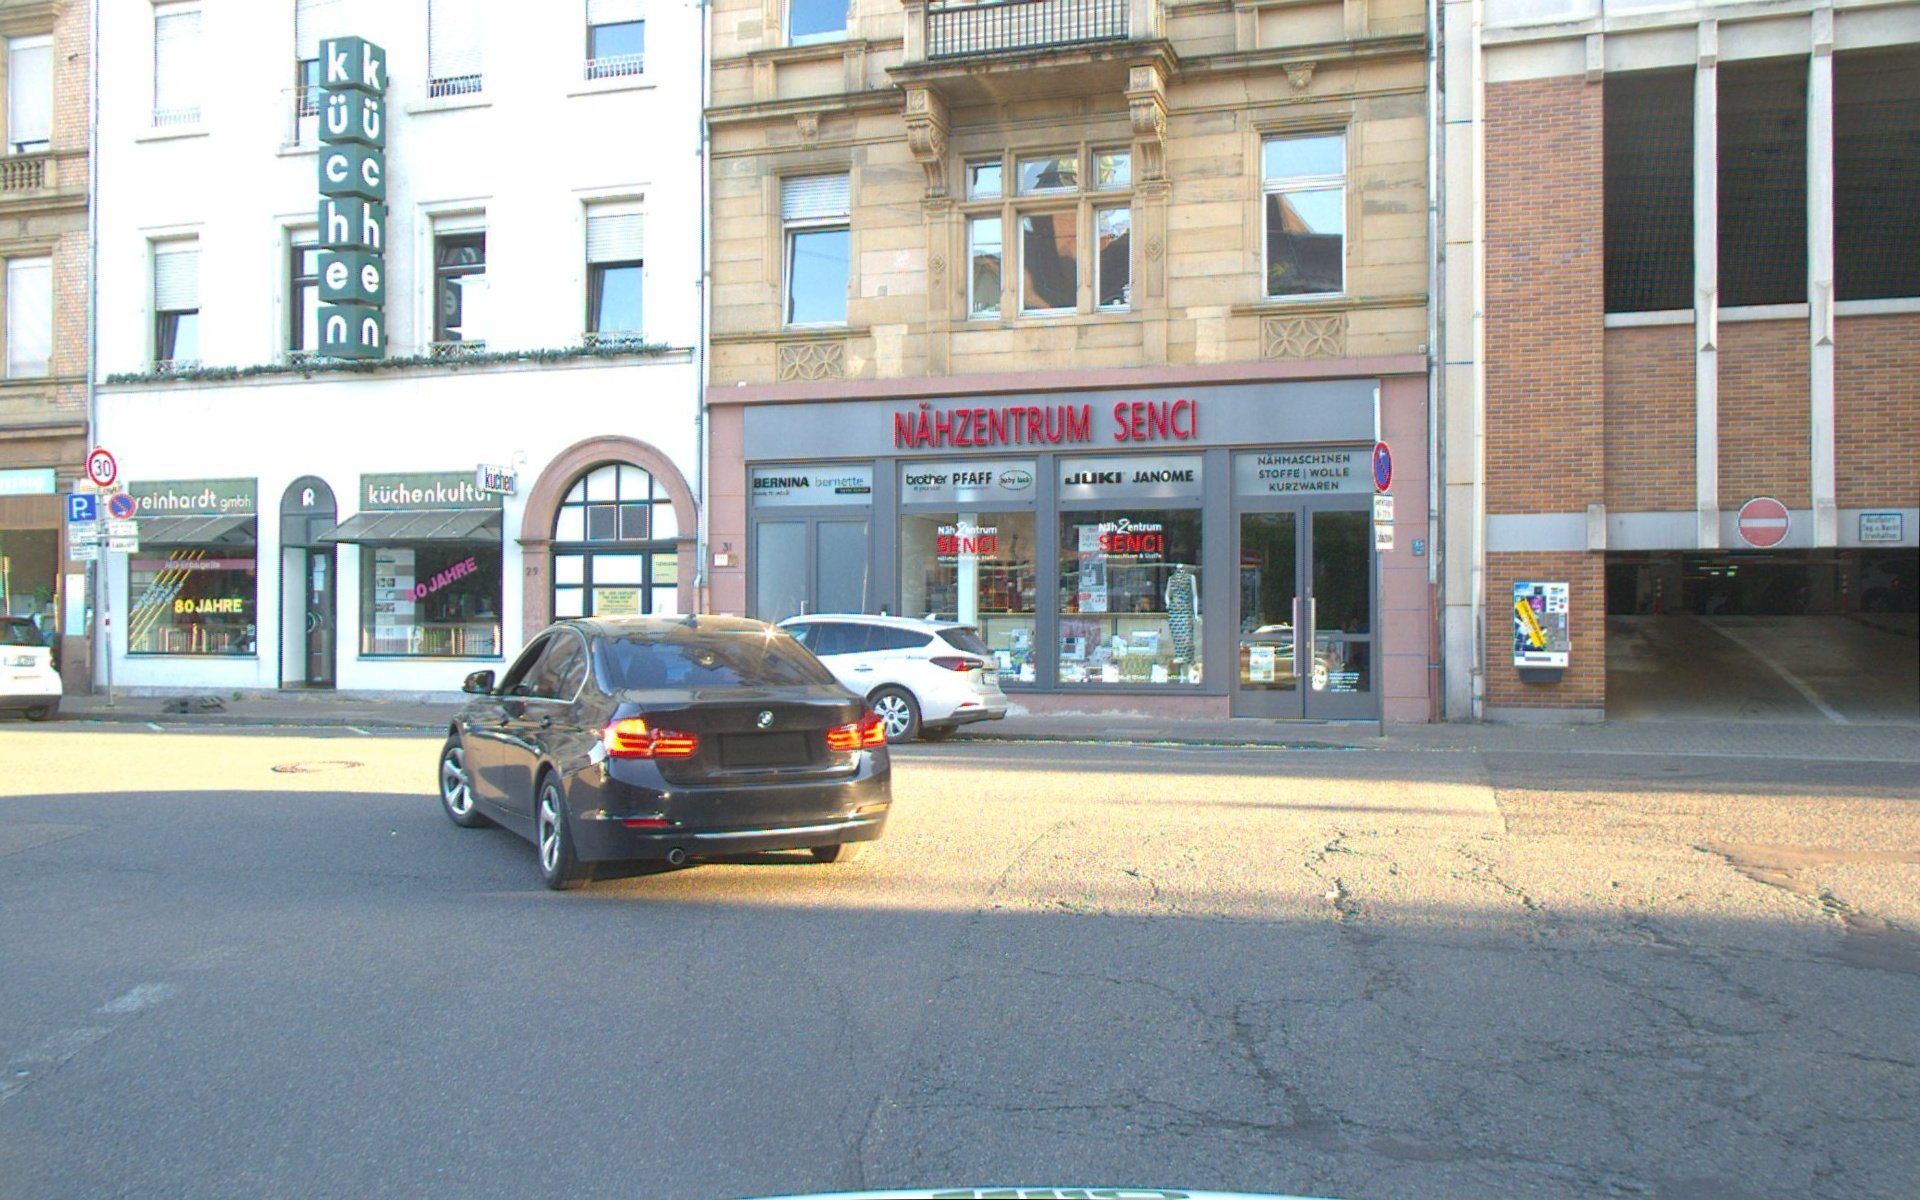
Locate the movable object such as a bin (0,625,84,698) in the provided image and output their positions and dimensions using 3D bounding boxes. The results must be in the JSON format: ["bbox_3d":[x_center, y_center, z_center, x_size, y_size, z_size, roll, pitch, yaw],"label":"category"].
[{"bbox_3d":[-15.780,1.038,28.095,1.364,1.207,0.869,0,-1,18],"label":"movable object such as a bin"}]

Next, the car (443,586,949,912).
[{"bbox_3d":[-1.811,0.747,10.011,1.866,1.518,4.167,1,-2,-27],"label":"car"}]

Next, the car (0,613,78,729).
[{"bbox_3d":[-15.268,0.989,24.441,3.903,1.612,1.706,1,0,19],"label":"car"}]

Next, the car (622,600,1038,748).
[{"bbox_3d":[-1.534,0.839,19.988,4.568,1.562,2.001,1,-1,17],"label":"car"}]
